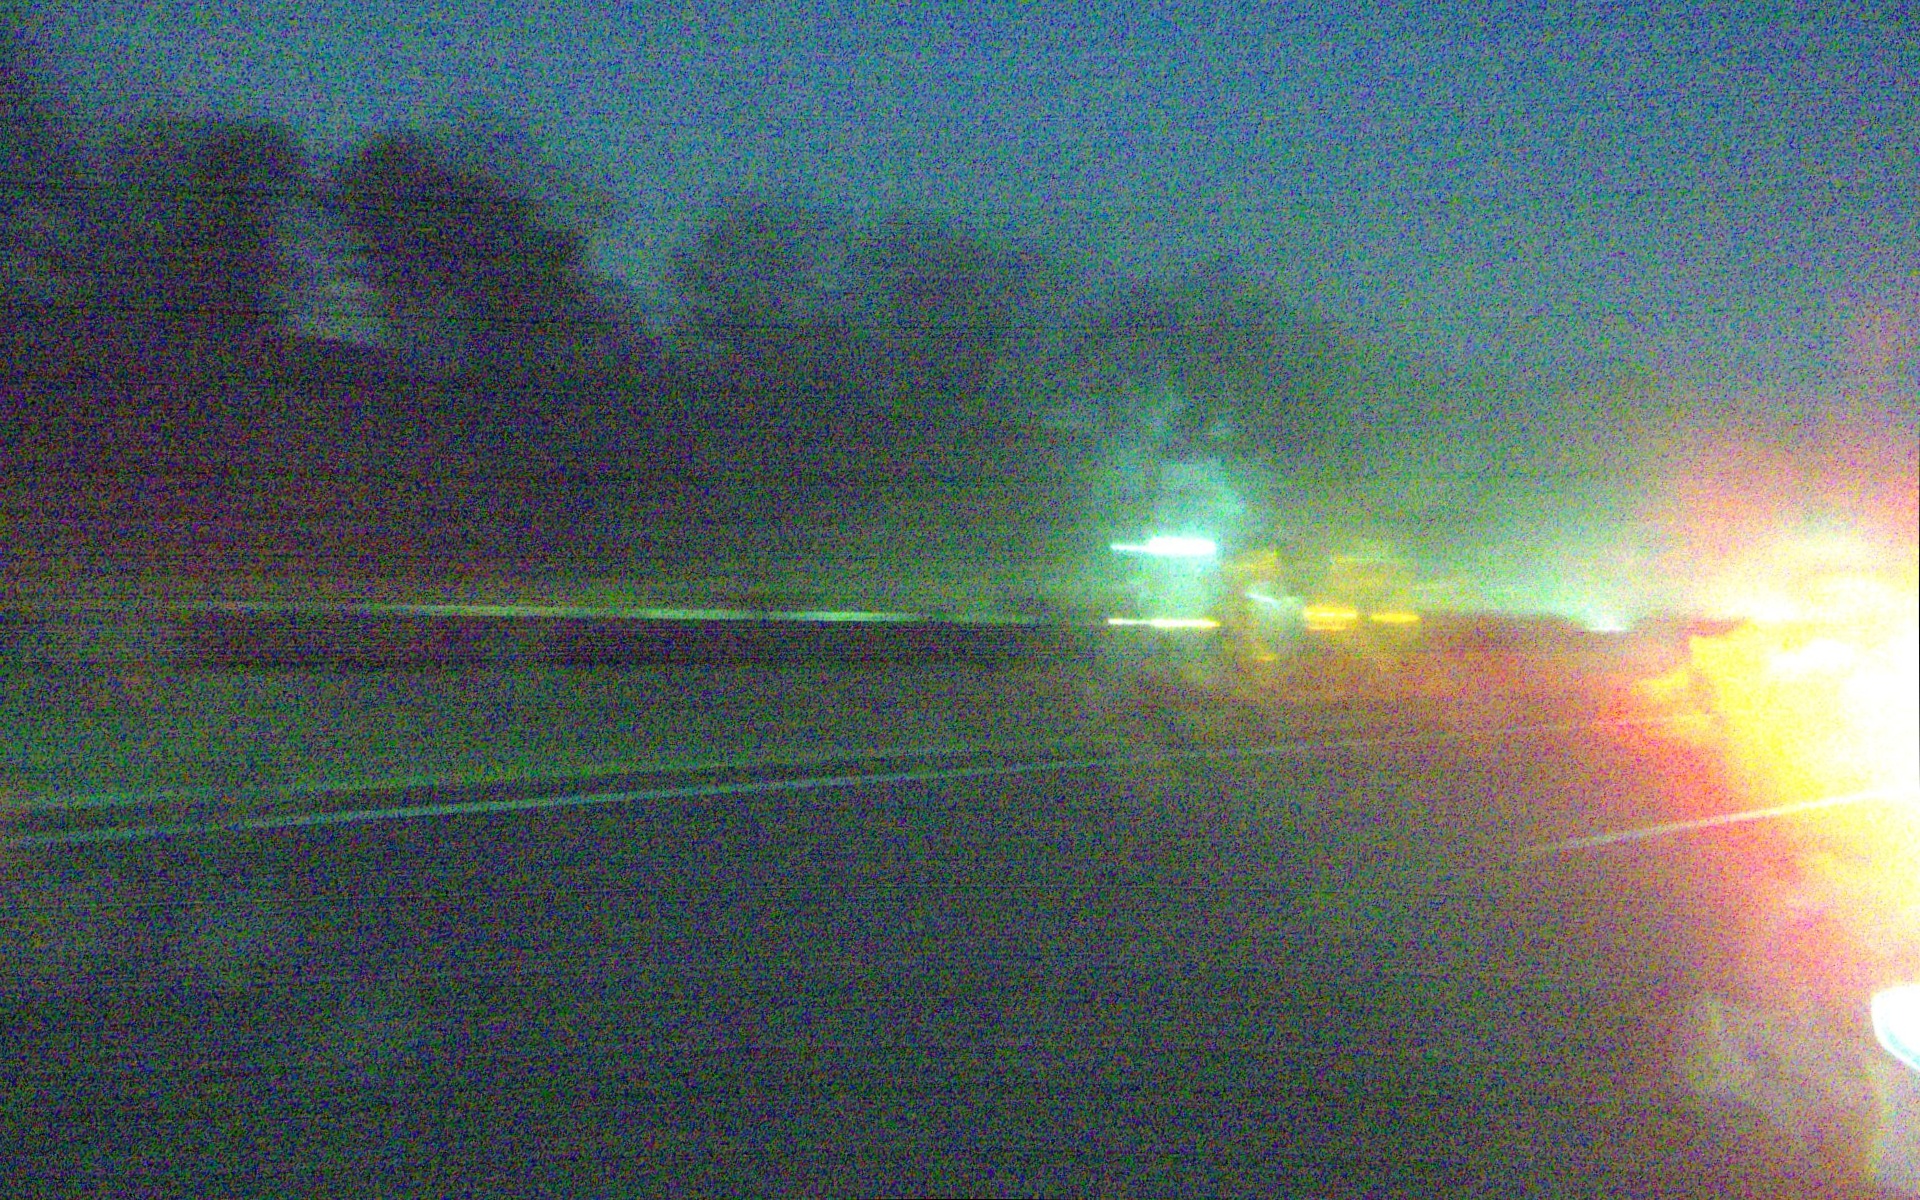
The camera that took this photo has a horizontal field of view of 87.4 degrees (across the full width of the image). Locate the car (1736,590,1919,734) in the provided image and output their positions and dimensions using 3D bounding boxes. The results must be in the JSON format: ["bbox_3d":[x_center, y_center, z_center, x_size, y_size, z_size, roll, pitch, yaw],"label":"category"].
[{"bbox_3d":[13.651,0.846,14.606,4.827,1.801,1.985,2,-1,-29],"label":"car"}]

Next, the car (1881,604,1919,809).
[{"bbox_3d":[9.728,0.907,8.301,4.182,1.616,1.907,2,-1,-29],"label":"car"}]

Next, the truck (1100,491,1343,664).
[{"bbox_3d":[7.863,-0.536,30.370,5.774,4.685,4.150,2,0,-28],"label":"truck"}]

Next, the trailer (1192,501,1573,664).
[{"bbox_3d":[14.604,-0.297,34.050,13.786,4.685,4.150,2,-1,-29],"label":"trailer"}]
